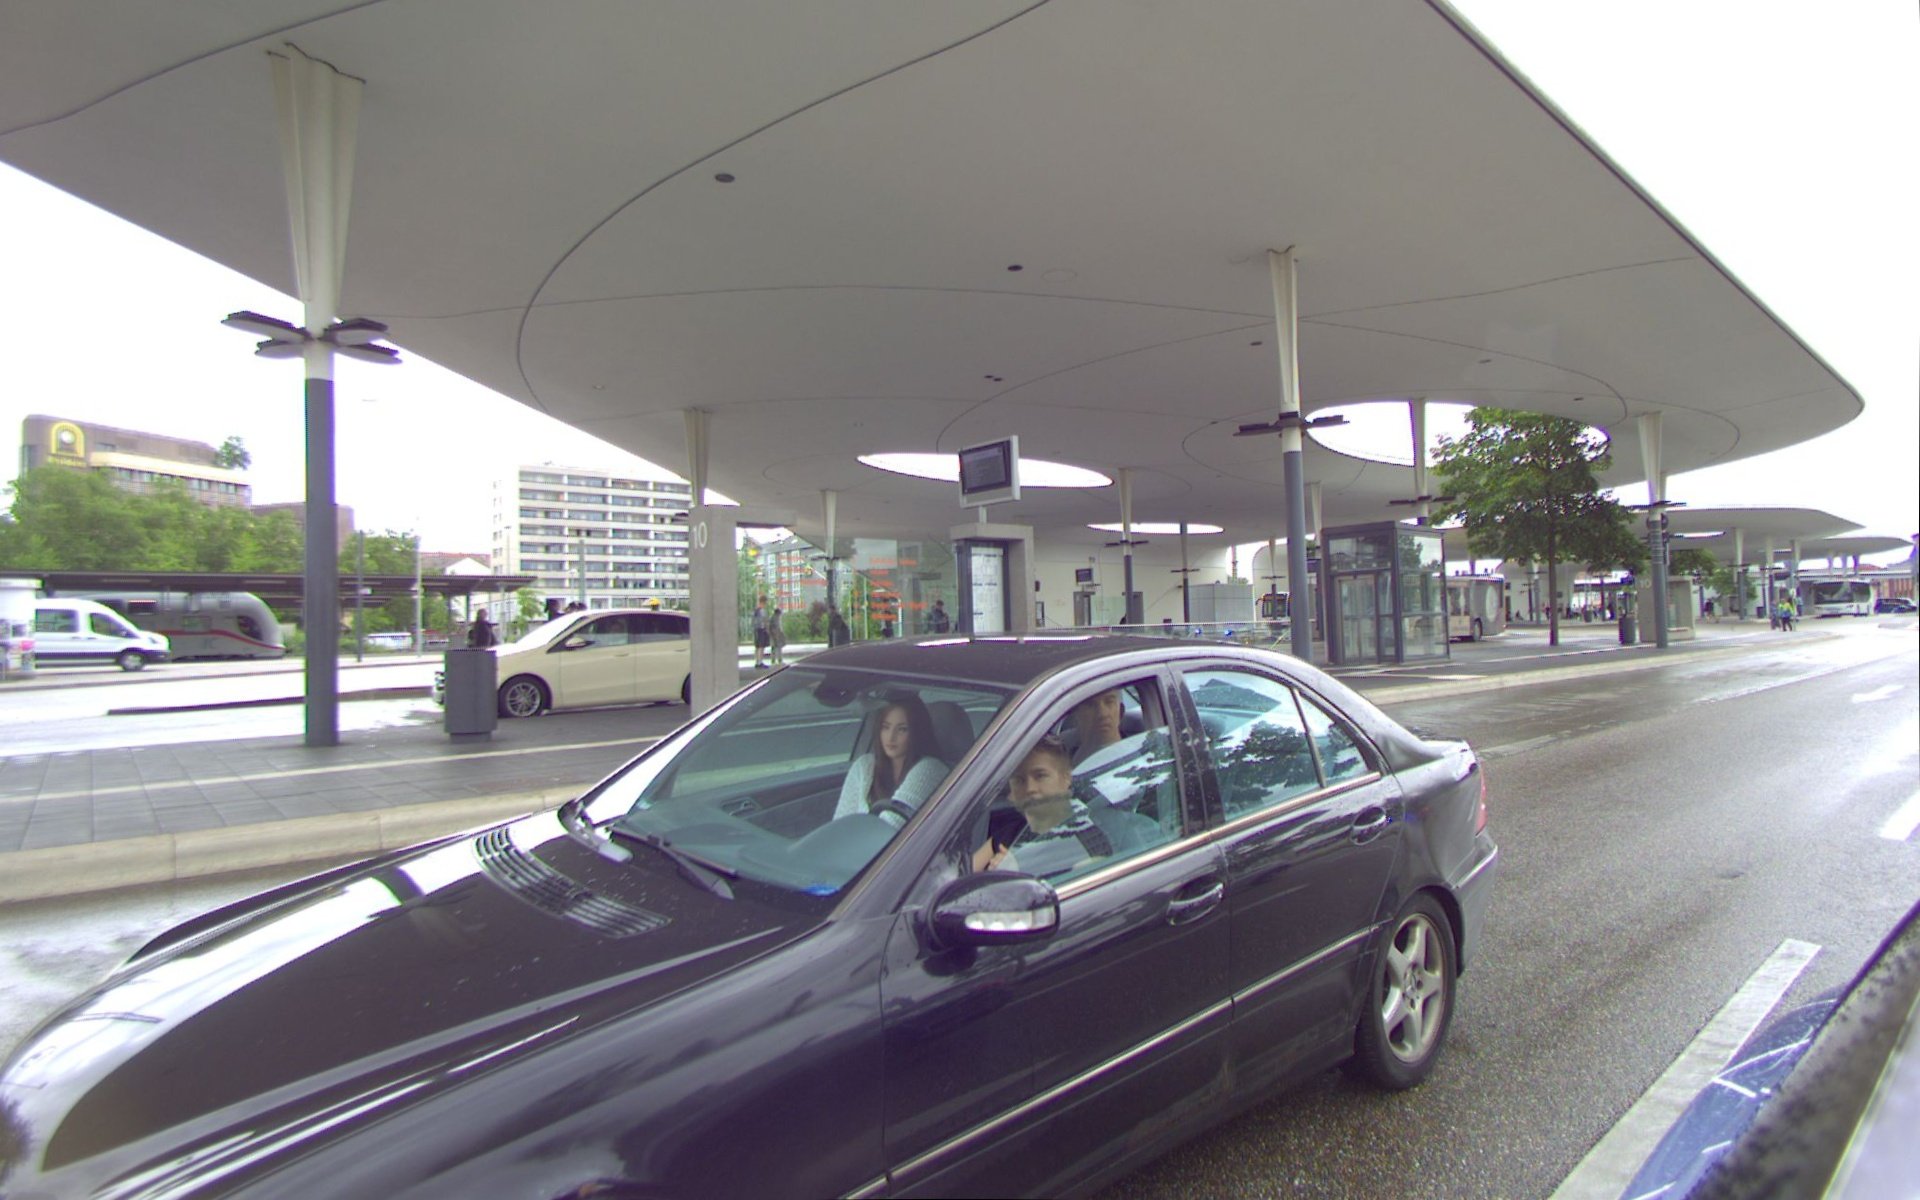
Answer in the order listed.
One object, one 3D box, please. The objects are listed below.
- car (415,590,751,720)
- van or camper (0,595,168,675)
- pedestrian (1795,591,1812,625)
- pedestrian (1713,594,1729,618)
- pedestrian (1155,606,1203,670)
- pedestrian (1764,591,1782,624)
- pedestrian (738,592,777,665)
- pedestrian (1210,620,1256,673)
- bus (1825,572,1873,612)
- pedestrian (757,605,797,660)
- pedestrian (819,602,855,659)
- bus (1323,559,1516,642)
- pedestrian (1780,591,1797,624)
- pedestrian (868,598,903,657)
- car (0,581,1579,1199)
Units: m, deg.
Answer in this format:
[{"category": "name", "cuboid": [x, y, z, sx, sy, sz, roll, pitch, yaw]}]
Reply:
[{"category": "car", "cuboid": [-5.519, 0.747, 15.130, 4.356, 1.671, 1.803, 0, -3, -41]}, {"category": "van or camper", "cuboid": [-29.785, 1.099, 33.221, 5.868, 2.495, 2.106, 0, -1, -41]}, {"category": "pedestrian", "cuboid": [41.099, 0.376, 49.313, 0.543, 1.645, 0.556, 0, -1, -41]}, {"category": "pedestrian", "cuboid": [53.779, 0.405, 71.492, 0.740, 1.651, 0.723, 0, -1, -41]}, {"category": "pedestrian", "cuboid": [4.471, 0.753, 20.638, 0.657, 1.268, 0.692, 0, -1, -41]}, {"category": "pedestrian", "cuboid": [40.432, 0.383, 50.340, 0.577, 1.645, 0.576, 0, -1, -41]}, {"category": "pedestrian", "cuboid": [-4.875, 0.671, 24.342, 0.680, 1.728, 0.658, 0, -1, -40]}, {"category": "pedestrian", "cuboid": [5.281, 0.889, 19.586, 0.626, 0.974, 0.622, 0, -1, -41]}, {"category": "bus", "cuboid": [75.365, -0.668, 85.706, 2.666, 3.169, 9.565, -1, -1, 43]}, {"category": "pedestrian", "cuboid": [-5.086, 0.885, 28.077, 0.732, 1.497, 0.825, -1, -1, 43]}, {"category": "pedestrian", "cuboid": [-3.670, 0.893, 30.246, 0.646, 1.654, 0.854, -1, -1, 43]}, {"category": "bus", "cuboid": [20.127, 0.009, 43.683, 12.143, 3.146, 2.999, 0, -1, -42]}, {"category": "pedestrian", "cuboid": [40.787, 0.375, 49.836, 0.543, 1.645, 0.556, 0, -1, -41]}, {"category": "pedestrian", "cuboid": [-1.990, 0.720, 27.023, 0.680, 1.564, 0.658, 0, -1, -40]}, {"category": "car", "cuboid": [0.055, 0.824, 3.044, 4.359, 1.499, 1.747, -2, -4, -41]}]
